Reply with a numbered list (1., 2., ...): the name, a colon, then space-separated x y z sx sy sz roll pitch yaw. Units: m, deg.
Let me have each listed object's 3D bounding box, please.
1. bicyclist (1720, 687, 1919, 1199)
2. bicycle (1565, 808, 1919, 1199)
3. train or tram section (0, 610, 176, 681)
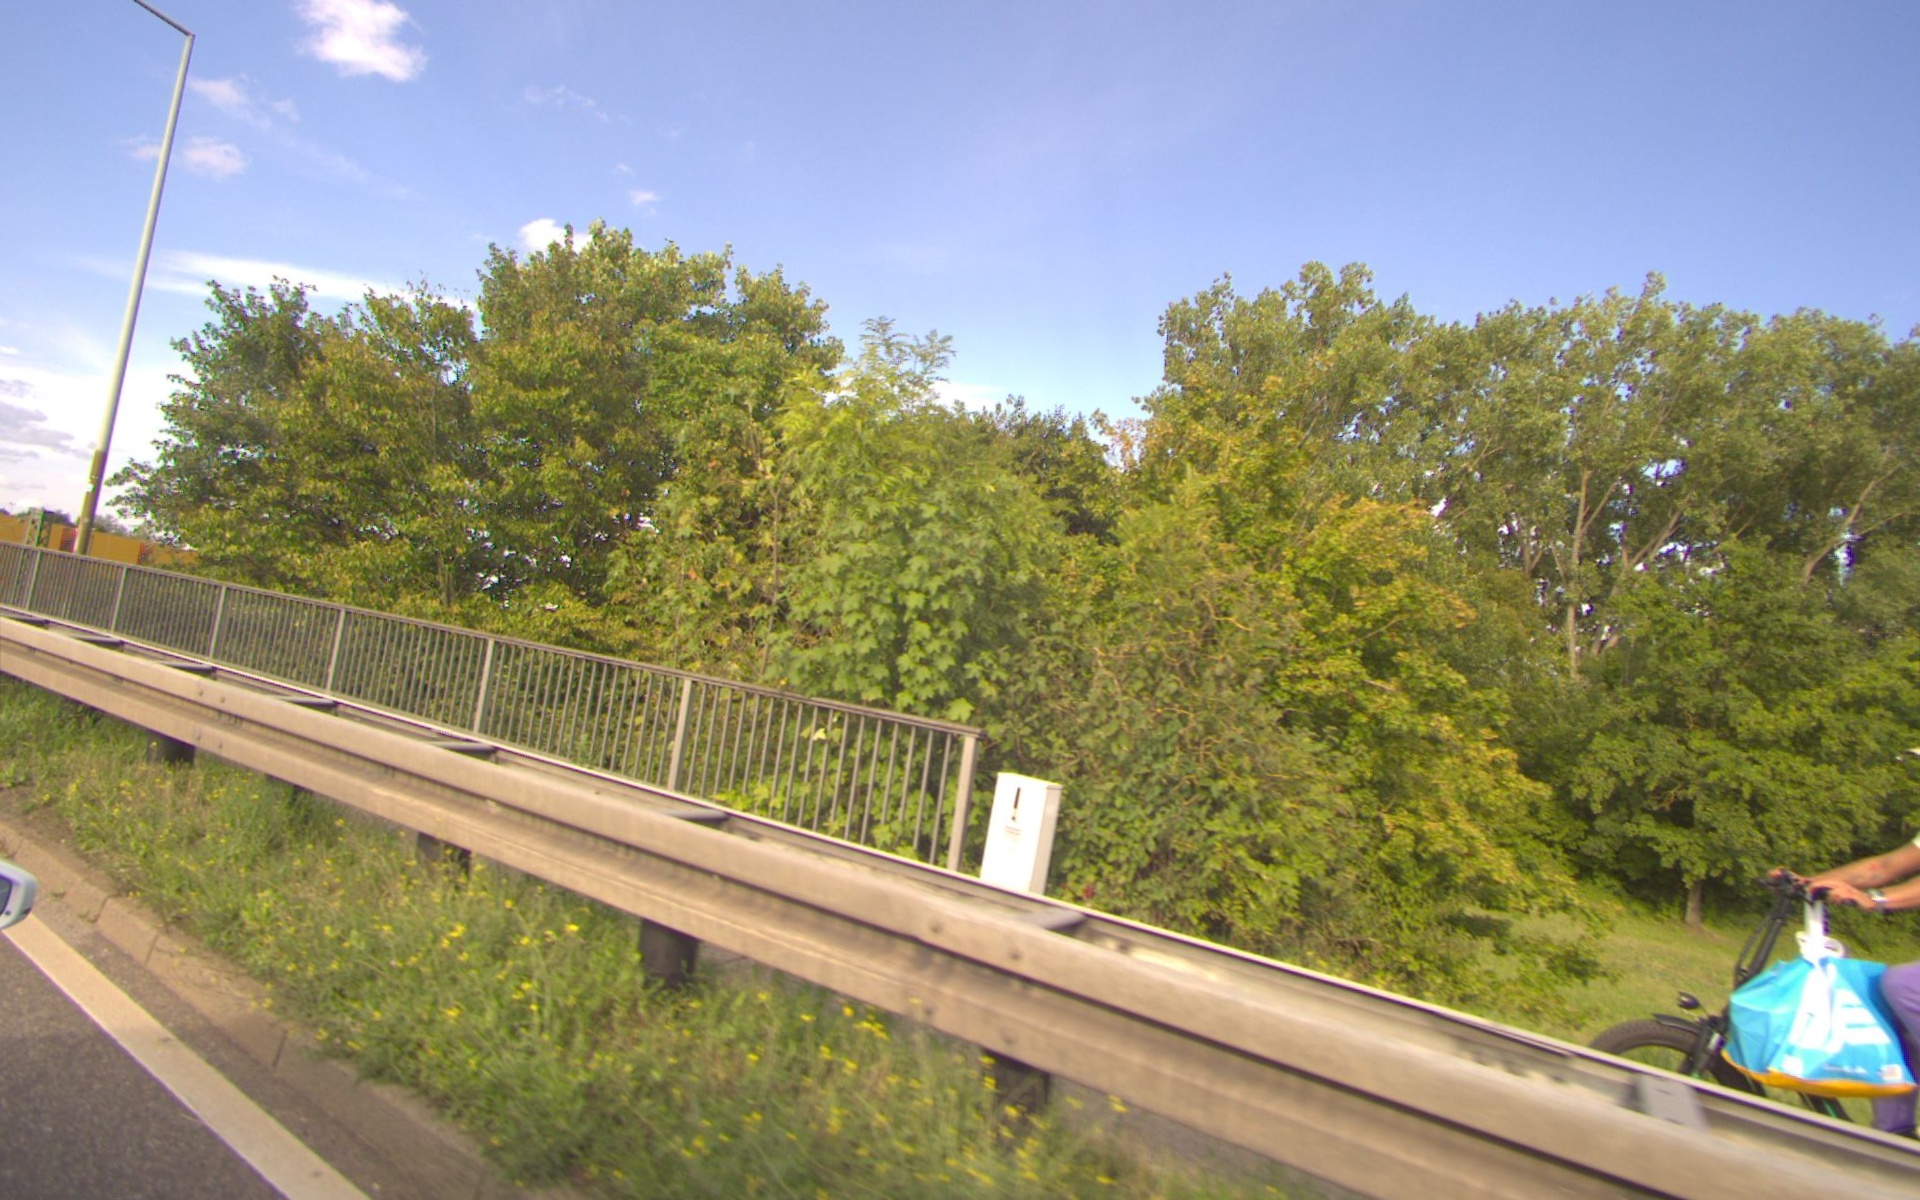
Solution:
1. bicyclist: 3.098 1.129 3.269 0.741 1.574 0.709 7 -2 27
2. bicycle: 3.033 1.430 3.278 1.667 1.133 0.597 7 -2 27
3. train or tram section: -68.992 3.487 77.541 3.039 4.764 16.769 8 -3 2
